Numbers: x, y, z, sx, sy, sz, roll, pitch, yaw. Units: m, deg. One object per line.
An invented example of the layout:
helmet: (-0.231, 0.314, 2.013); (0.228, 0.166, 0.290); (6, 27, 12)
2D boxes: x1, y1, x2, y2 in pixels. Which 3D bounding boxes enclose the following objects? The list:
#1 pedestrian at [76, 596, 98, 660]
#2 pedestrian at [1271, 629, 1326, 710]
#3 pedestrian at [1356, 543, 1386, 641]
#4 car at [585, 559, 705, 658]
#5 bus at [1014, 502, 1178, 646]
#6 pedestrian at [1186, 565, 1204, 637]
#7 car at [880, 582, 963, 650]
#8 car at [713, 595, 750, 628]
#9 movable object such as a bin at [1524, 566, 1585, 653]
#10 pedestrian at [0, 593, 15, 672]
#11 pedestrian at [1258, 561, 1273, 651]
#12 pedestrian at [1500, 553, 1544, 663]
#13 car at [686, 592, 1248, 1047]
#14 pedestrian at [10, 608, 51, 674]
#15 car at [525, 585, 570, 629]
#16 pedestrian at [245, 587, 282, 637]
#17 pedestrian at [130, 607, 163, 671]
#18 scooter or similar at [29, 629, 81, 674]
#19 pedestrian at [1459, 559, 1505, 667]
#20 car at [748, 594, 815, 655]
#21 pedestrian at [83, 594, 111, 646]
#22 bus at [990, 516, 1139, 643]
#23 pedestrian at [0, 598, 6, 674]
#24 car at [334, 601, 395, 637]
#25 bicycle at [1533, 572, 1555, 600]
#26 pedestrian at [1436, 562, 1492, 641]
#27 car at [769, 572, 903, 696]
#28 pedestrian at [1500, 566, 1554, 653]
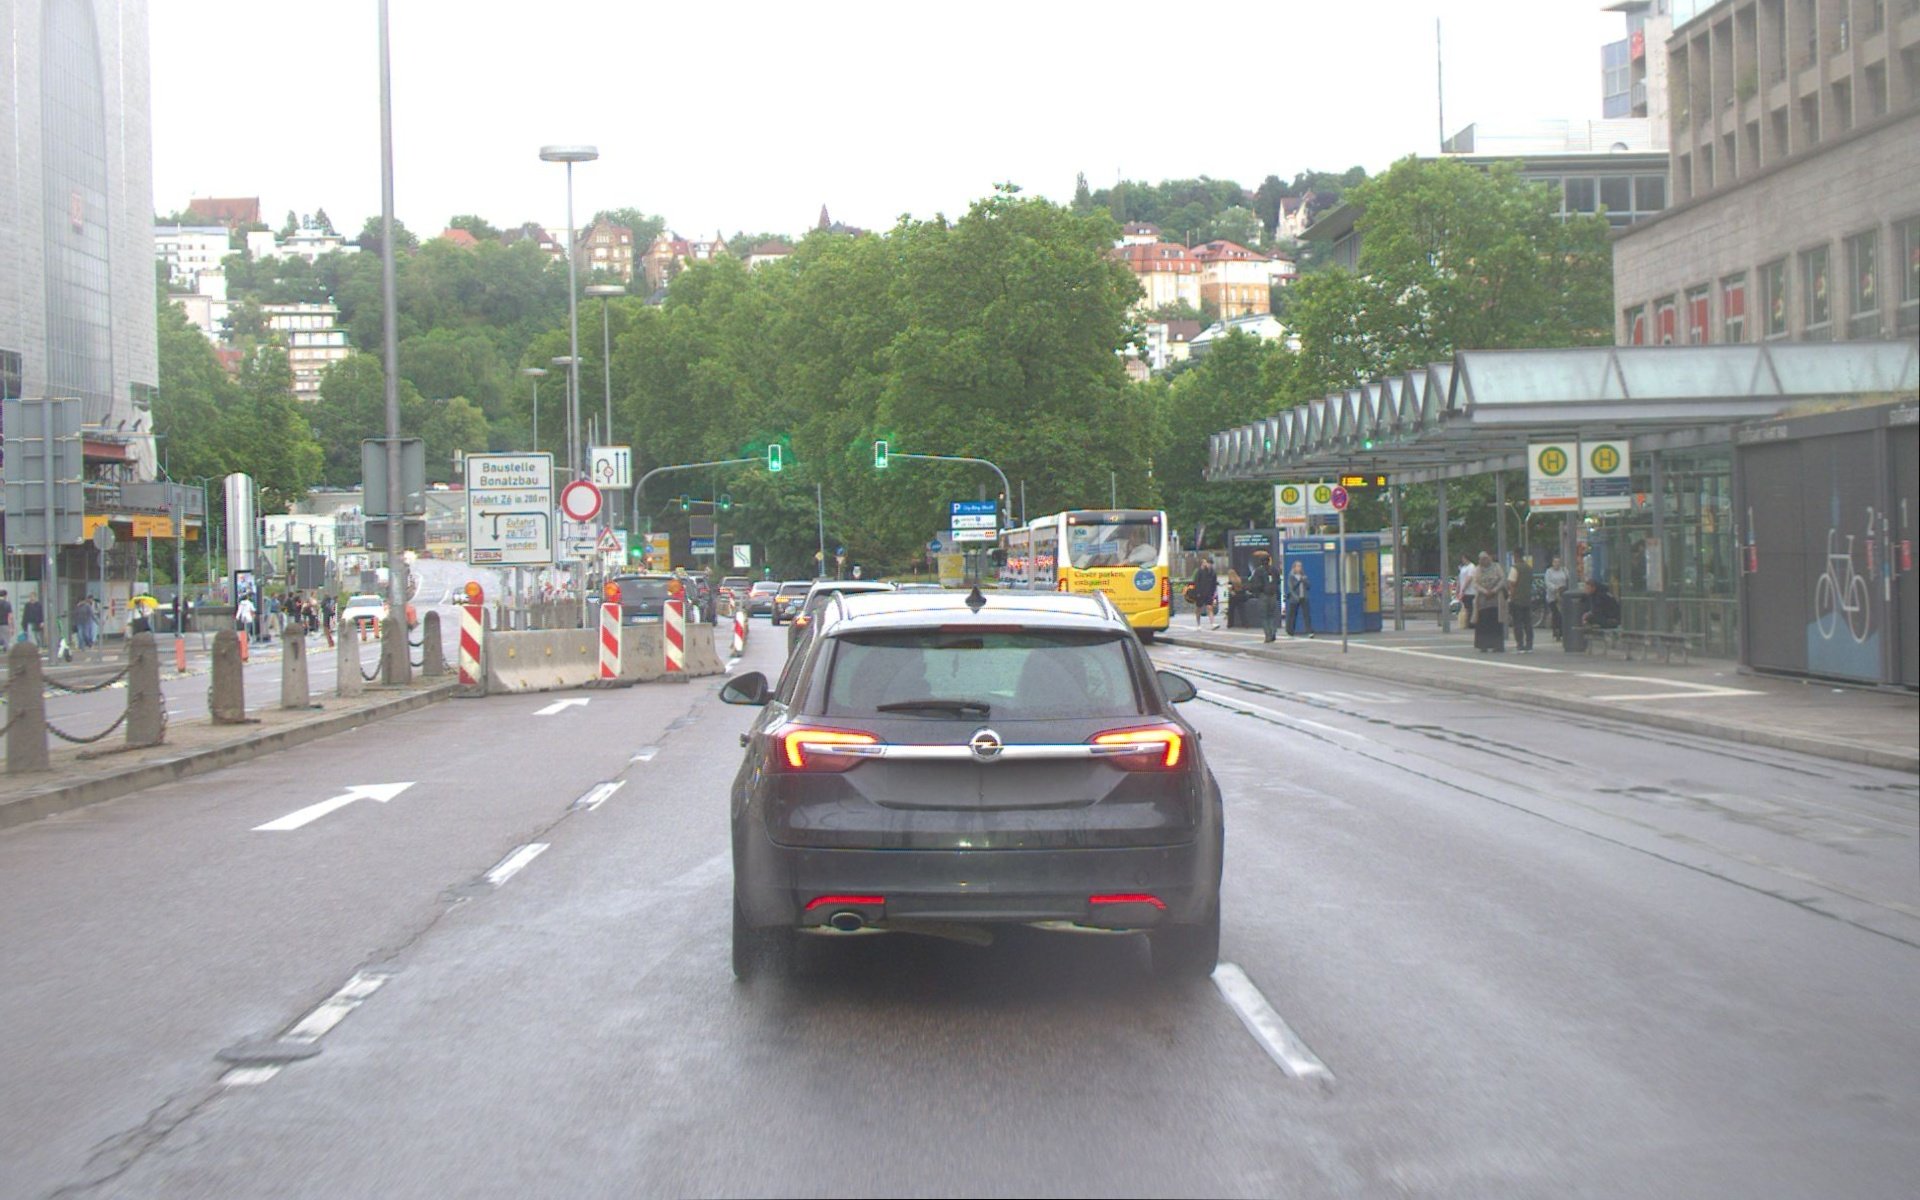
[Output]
pedestrian: (-25.418, 0.810, 100.067); (0.570, 1.835, 0.704); (-1, 0, -16)
pedestrian: (7.216, 1.470, 73.302); (0.759, 1.684, 0.999); (-1, 0, -23)
pedestrian: (9.313, -0.186, 77.925); (0.590, 2.208, 0.587); (-1, 0, 0)
car: (-6.220, 0.156, 68.345); (1.993, 1.856, 4.833); (-1, 0, -1)
bus: (3.142, -0.562, 81.946); (3.141, 3.236, 9.136); (0, 0, -3)
pedestrian: (6.002, 0.030, 87.832); (0.443, 1.830, 0.577); (-1, 0, 2)
car: (-1.014, 0.413, 89.415); (1.851, 1.711, 4.001); (0, 0, -5)
car: (-11.480, 0.590, 173.211); (1.706, 1.660, 3.706); (0, 0, -1)
movable object such as a bin: (11.363, 0.174, 65.736); (0.662, 1.647, 1.049); (-1, 0, -25)
pedestrian: (-22.494, 0.768, 80.712); (0.507, 1.835, 0.704); (-1, 0, -8)
pedestrian: (6.262, 0.127, 70.439); (0.243, 1.830, 0.512); (-1, 0, 1)
pedestrian: (9.472, 0.129, 57.963); (0.627, 1.830, 0.641); (-1, 0, 0)
car: (-0.023, 0.732, 14.010); (1.877, 1.503, 4.852); (-1, 0, -1)
pedestrian: (-26.169, 1.158, 96.806); (0.839, 1.835, 1.058); (-1, 0, 1)
car: (-19.214, 0.314, 159.970); (1.993, 2.007, 5.371); (0, 0, -8)
pedestrian: (-26.362, 0.453, 130.118); (0.984, 1.835, 1.040); (-1, 0, 18)
pedestrian: (-23.510, 1.118, 99.357); (0.875, 1.835, 0.839); (-1, 0, -16)
scooter or similar: (-22.165, 1.252, 84.171); (0.459, 1.062, 1.238); (0, 0, 32)
pedestrian: (8.978, 0.218, 59.112); (0.675, 1.830, 0.574); (-1, 0, 0)
car: (-5.974, 0.807, 114.748); (1.983, 2.007, 4.370); (0, 0, -6)
pedestrian: (-27.366, 0.631, 109.013); (0.676, 1.608, 0.838); (-1, 0, 0)
bus: (2.672, -0.509, 91.104); (3.113, 3.194, 9.243); (0, 0, -3)
pedestrian: (-23.462, 0.872, 82.396); (0.703, 1.835, 0.876); (-1, 0, 26)
car: (-24.173, 0.763, 139.653); (1.993, 1.463, 4.000); (0, 0, -3)
bicycle: (22.855, -0.534, 134.538); (0.616, 1.052, 1.996); (-3, 0, 4)
pedestrian: (11.573, 0.032, 78.897); (0.786, 1.798, 0.992); (-1, 0, -31)
car: (-1.787, 0.465, 49.942); (1.830, 1.680, 4.134); (-1, 0, -2)
pedestrian: (10.964, 0.181, 66.506); (0.759, 1.649, 0.680); (-1, 0, -26)
